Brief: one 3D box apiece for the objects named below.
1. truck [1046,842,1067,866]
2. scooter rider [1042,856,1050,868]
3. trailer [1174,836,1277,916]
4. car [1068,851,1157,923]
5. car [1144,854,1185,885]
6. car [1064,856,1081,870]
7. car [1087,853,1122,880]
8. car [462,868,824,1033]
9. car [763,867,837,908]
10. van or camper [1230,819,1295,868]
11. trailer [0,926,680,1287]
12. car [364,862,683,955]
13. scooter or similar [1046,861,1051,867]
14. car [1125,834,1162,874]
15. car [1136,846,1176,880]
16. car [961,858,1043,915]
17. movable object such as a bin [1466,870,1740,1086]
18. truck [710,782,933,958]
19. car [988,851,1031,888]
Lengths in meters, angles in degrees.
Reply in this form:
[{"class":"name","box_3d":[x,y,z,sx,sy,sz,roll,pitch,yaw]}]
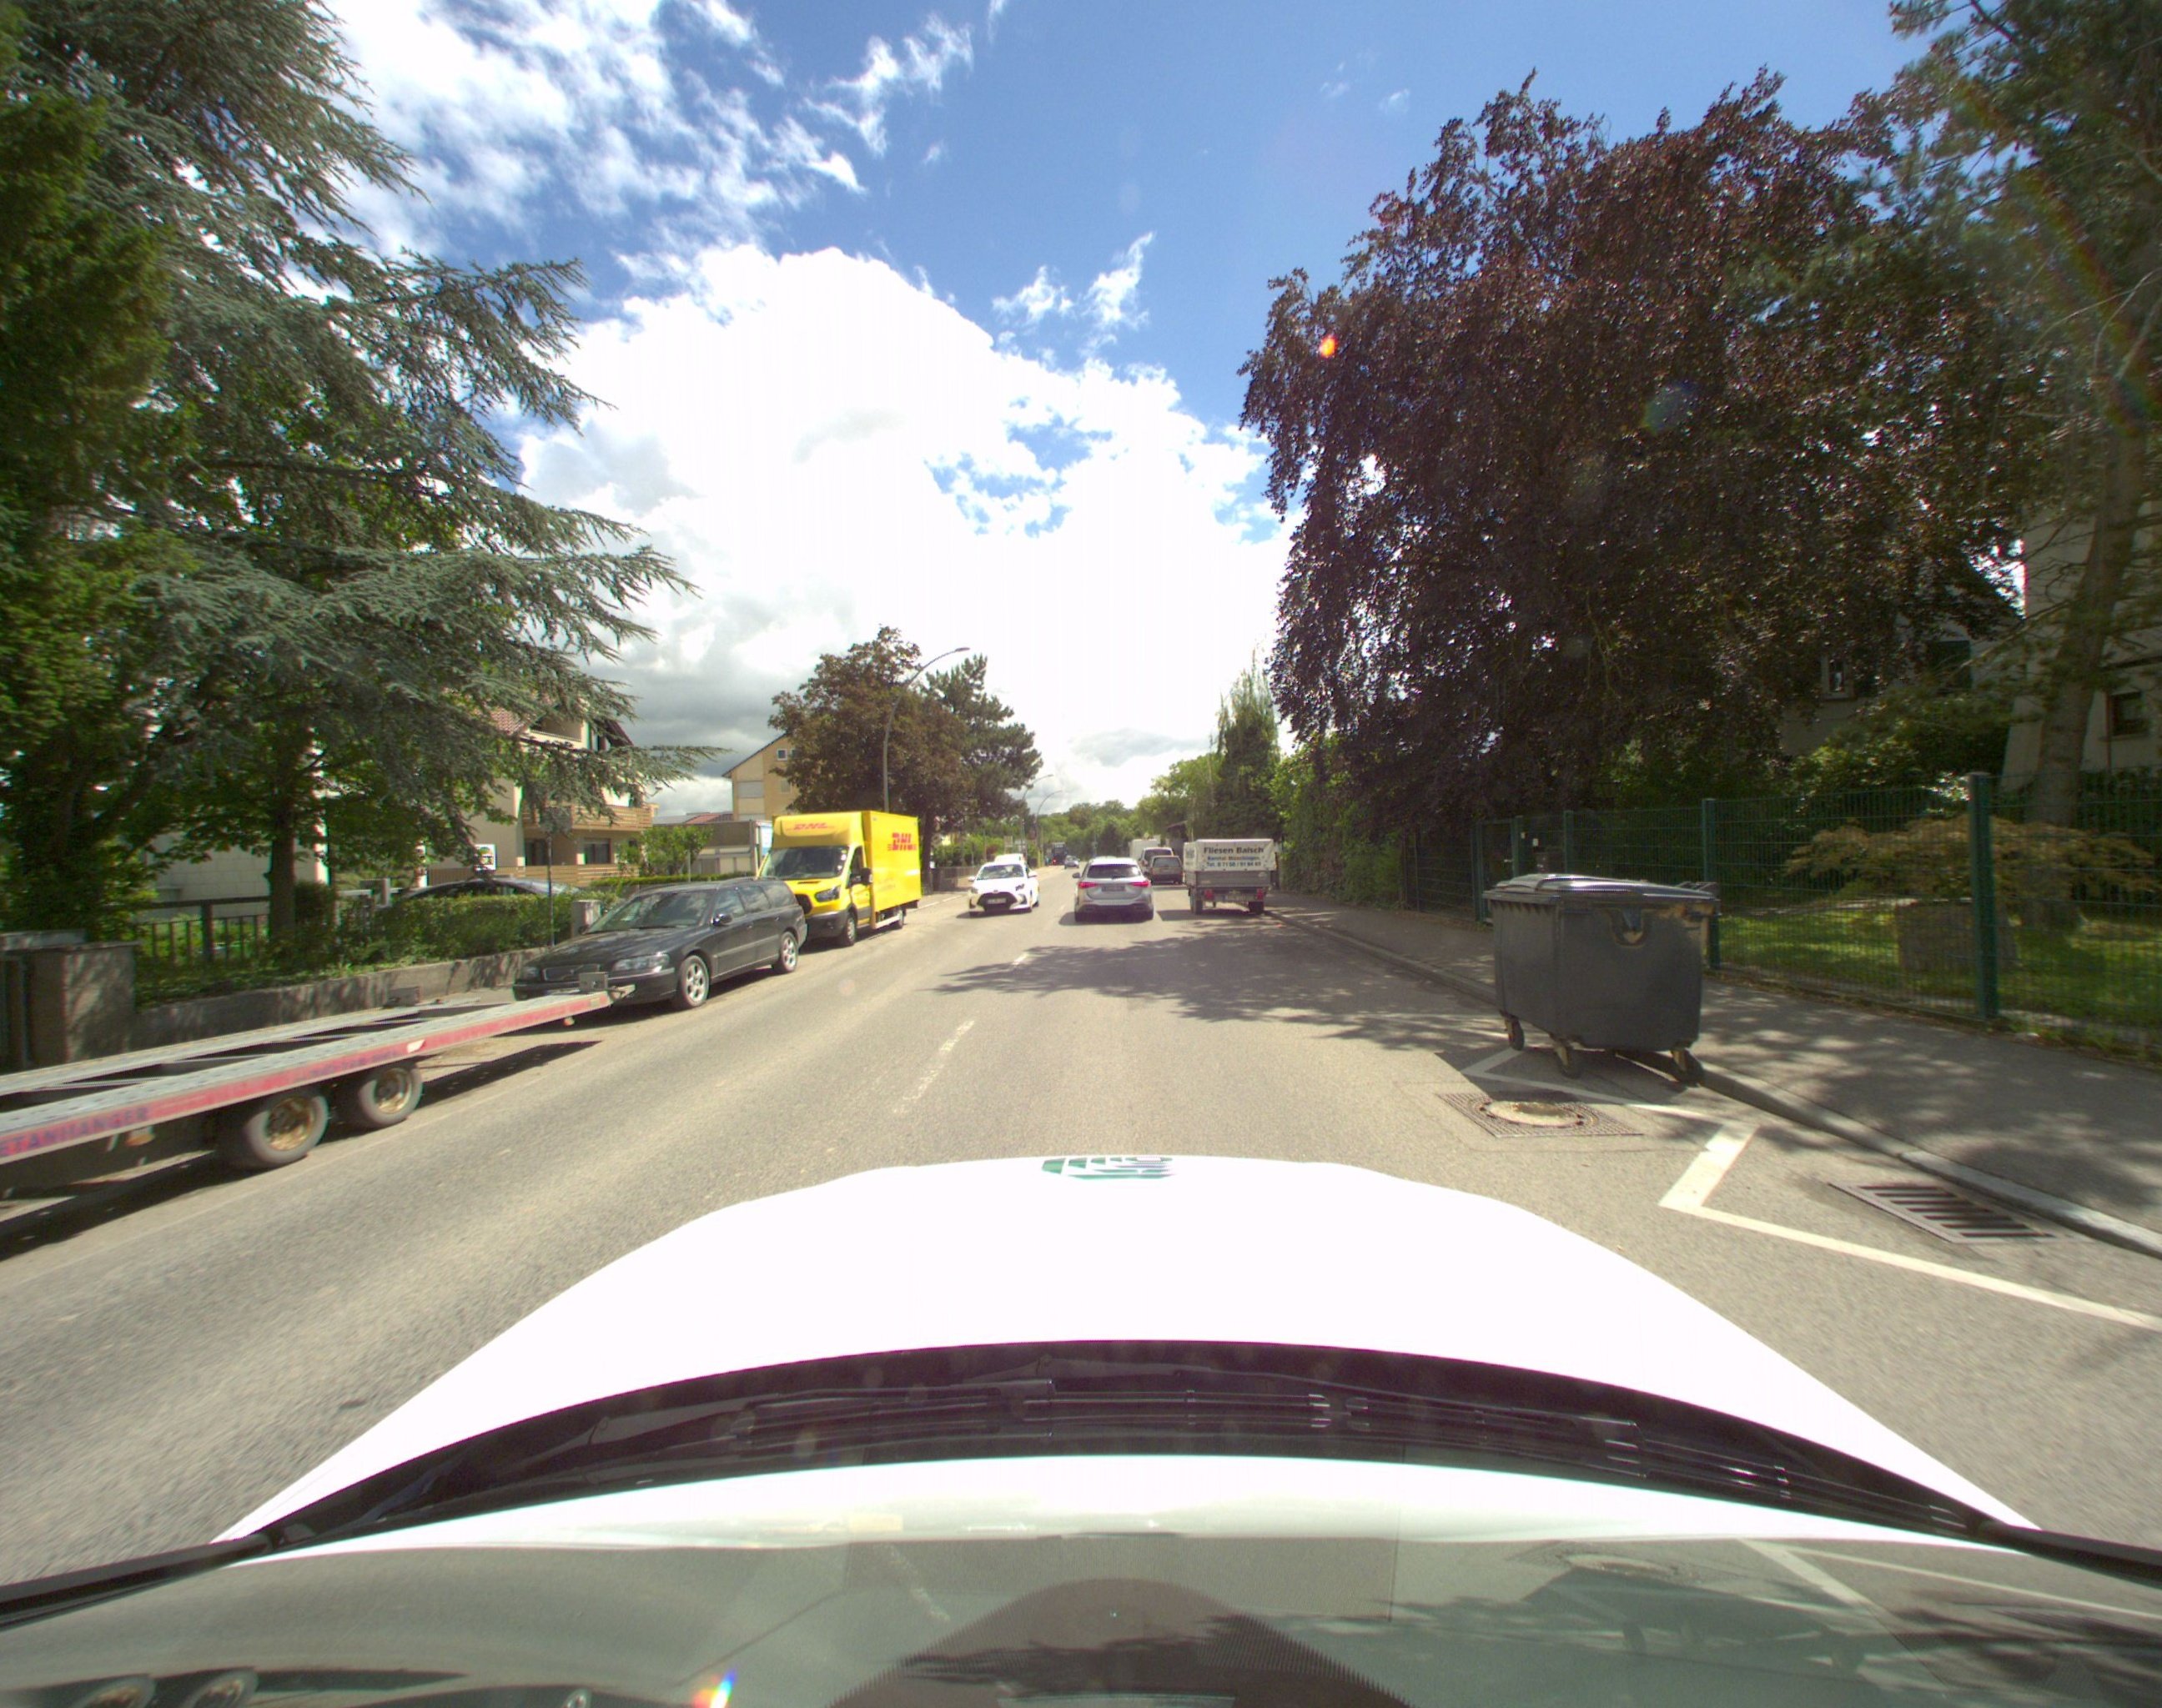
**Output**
[{"class":"truck","box_3d":[-4.449,0.072,147.062,2.430,4.131,9.116,0,-1,-11]},{"class":"scooter rider","box_3d":[-4.934,1.088,114.591,0.875,1.589,0.796,-3,0,2]},{"class":"trailer","box_3d":[3.614,0.522,21.222,1.986,1.823,4.767,-1,0,2]},{"class":"car","box_3d":[0.758,0.732,19.840,1.877,1.508,4.002,-2,0,2]},{"class":"car","box_3d":[4.203,0.751,41.654,1.748,1.450,4.996,0,0,2]},{"class":"car","box_3d":[-1.057,1.080,99.453,1.894,1.518,4.319,-3,0,1]},{"class":"car","box_3d":[1.375,0.721,48.734,1.879,1.508,3.998,-2,0,-1]},{"class":"car","box_3d":[-5.369,1.055,10.968,1.986,1.453,4.814,-6,0,2]},{"class":"car","box_3d":[-11.918,1.384,34.832,1.762,1.543,4.084,-3,0,-2]},{"class":"van or camper","box_3d":[12.512,-0.664,56.747,2.871,3.060,6.913,-3,0,0]},{"class":"trailer","box_3d":[-5.433,1.310,4.650,2.310,0.990,7.462,-4,0,2]},{"class":"car","box_3d":[-11.068,1.042,16.447,4.992,1.552,1.972,-3,-1,0]},{"class":"scooter or similar","box_3d":[-4.514,1.465,114.154,0.609,0.831,0.659,-1,0,2]},{"class":"car","box_3d":[4.535,-0.012,60.188,2.207,2.689,6.658,-3,0,1]},{"class":"car","box_3d":[4.288,0.497,47.350,1.899,1.885,5.390,-1,0,1]},{"class":"car","box_3d":[-2.207,0.884,23.936,1.976,1.420,3.999,-3,0,-1]},{"class":"movable object such as a bin","box_3d":[3.627,0.809,5.852,1.108,1.291,1.359,-3,0,6]},{"class":"truck","box_3d":[-5.415,0.291,18.681,2.316,3.003,7.818,-5,0,0]},{"class":"car","box_3d":[-4.206,0.887,48.575,1.826,1.853,4.898,-6,0,2]}]
